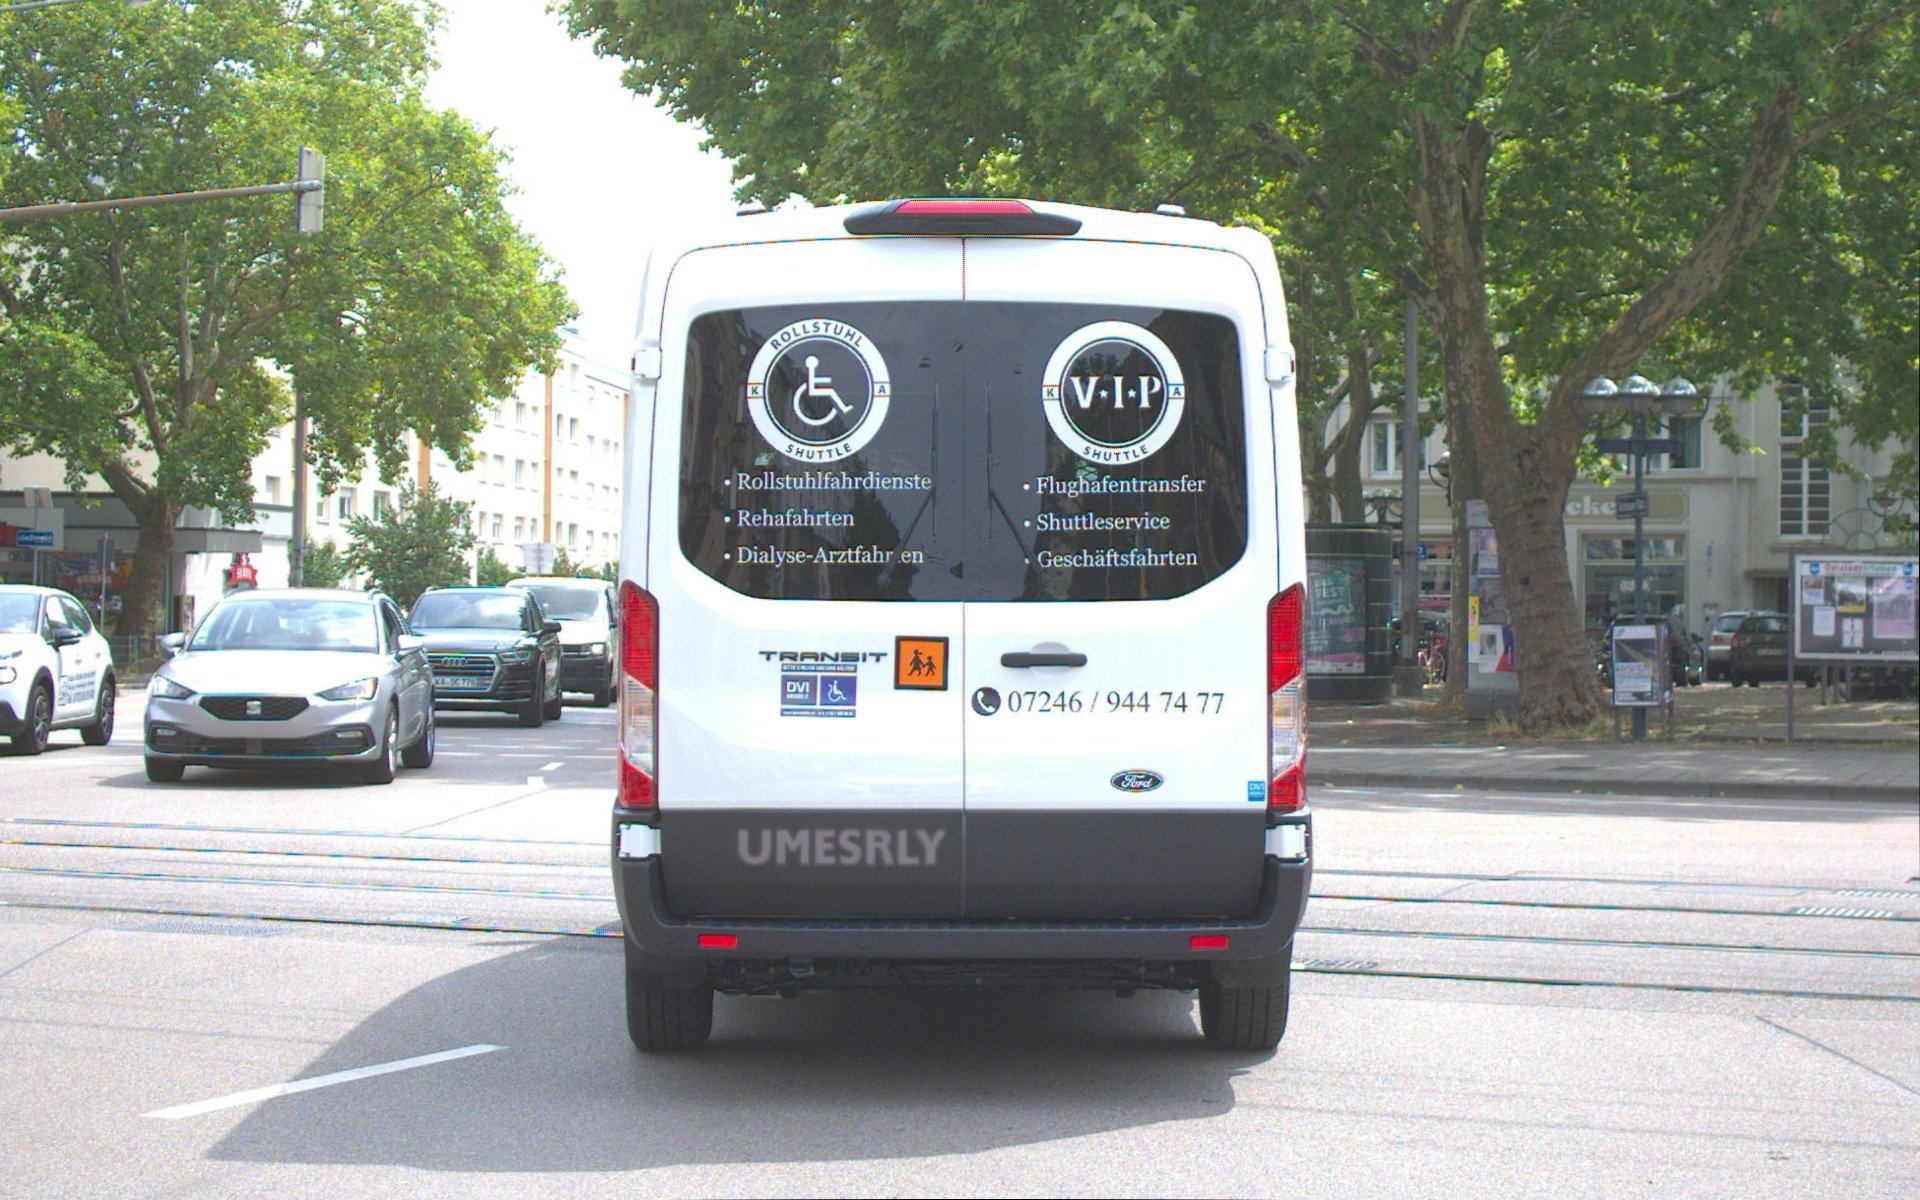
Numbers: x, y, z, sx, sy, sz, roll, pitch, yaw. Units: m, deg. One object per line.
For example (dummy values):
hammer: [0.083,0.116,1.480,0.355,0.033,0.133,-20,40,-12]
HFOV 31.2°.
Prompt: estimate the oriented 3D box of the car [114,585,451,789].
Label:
car: [-5.079,0.609,26.283,1.832,1.422,4.121,0,0,-1]

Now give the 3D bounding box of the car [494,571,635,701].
car: [-6.136,0.535,53.777,1.743,1.924,4.854,0,0,-1]

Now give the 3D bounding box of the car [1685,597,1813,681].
car: [16.271,0.779,71.026,1.804,1.678,4.000,0,0,1]

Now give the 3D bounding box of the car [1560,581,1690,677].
car: [13.749,0.575,71.273,1.993,1.924,4.000,0,0,1]

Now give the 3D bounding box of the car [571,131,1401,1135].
car: [-0.107,0.041,11.454,2.181,2.639,4.629,-1,1,-5]

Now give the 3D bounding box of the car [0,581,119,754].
car: [-8.742,0.544,30.290,1.743,1.422,4.032,0,0,-1]

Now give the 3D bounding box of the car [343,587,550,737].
car: [-5.679,0.652,38.473,1.743,1.582,4.329,0,0,-1]

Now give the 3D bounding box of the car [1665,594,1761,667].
car: [17.842,0.701,81.363,1.806,1.678,3.996,0,0,19]
